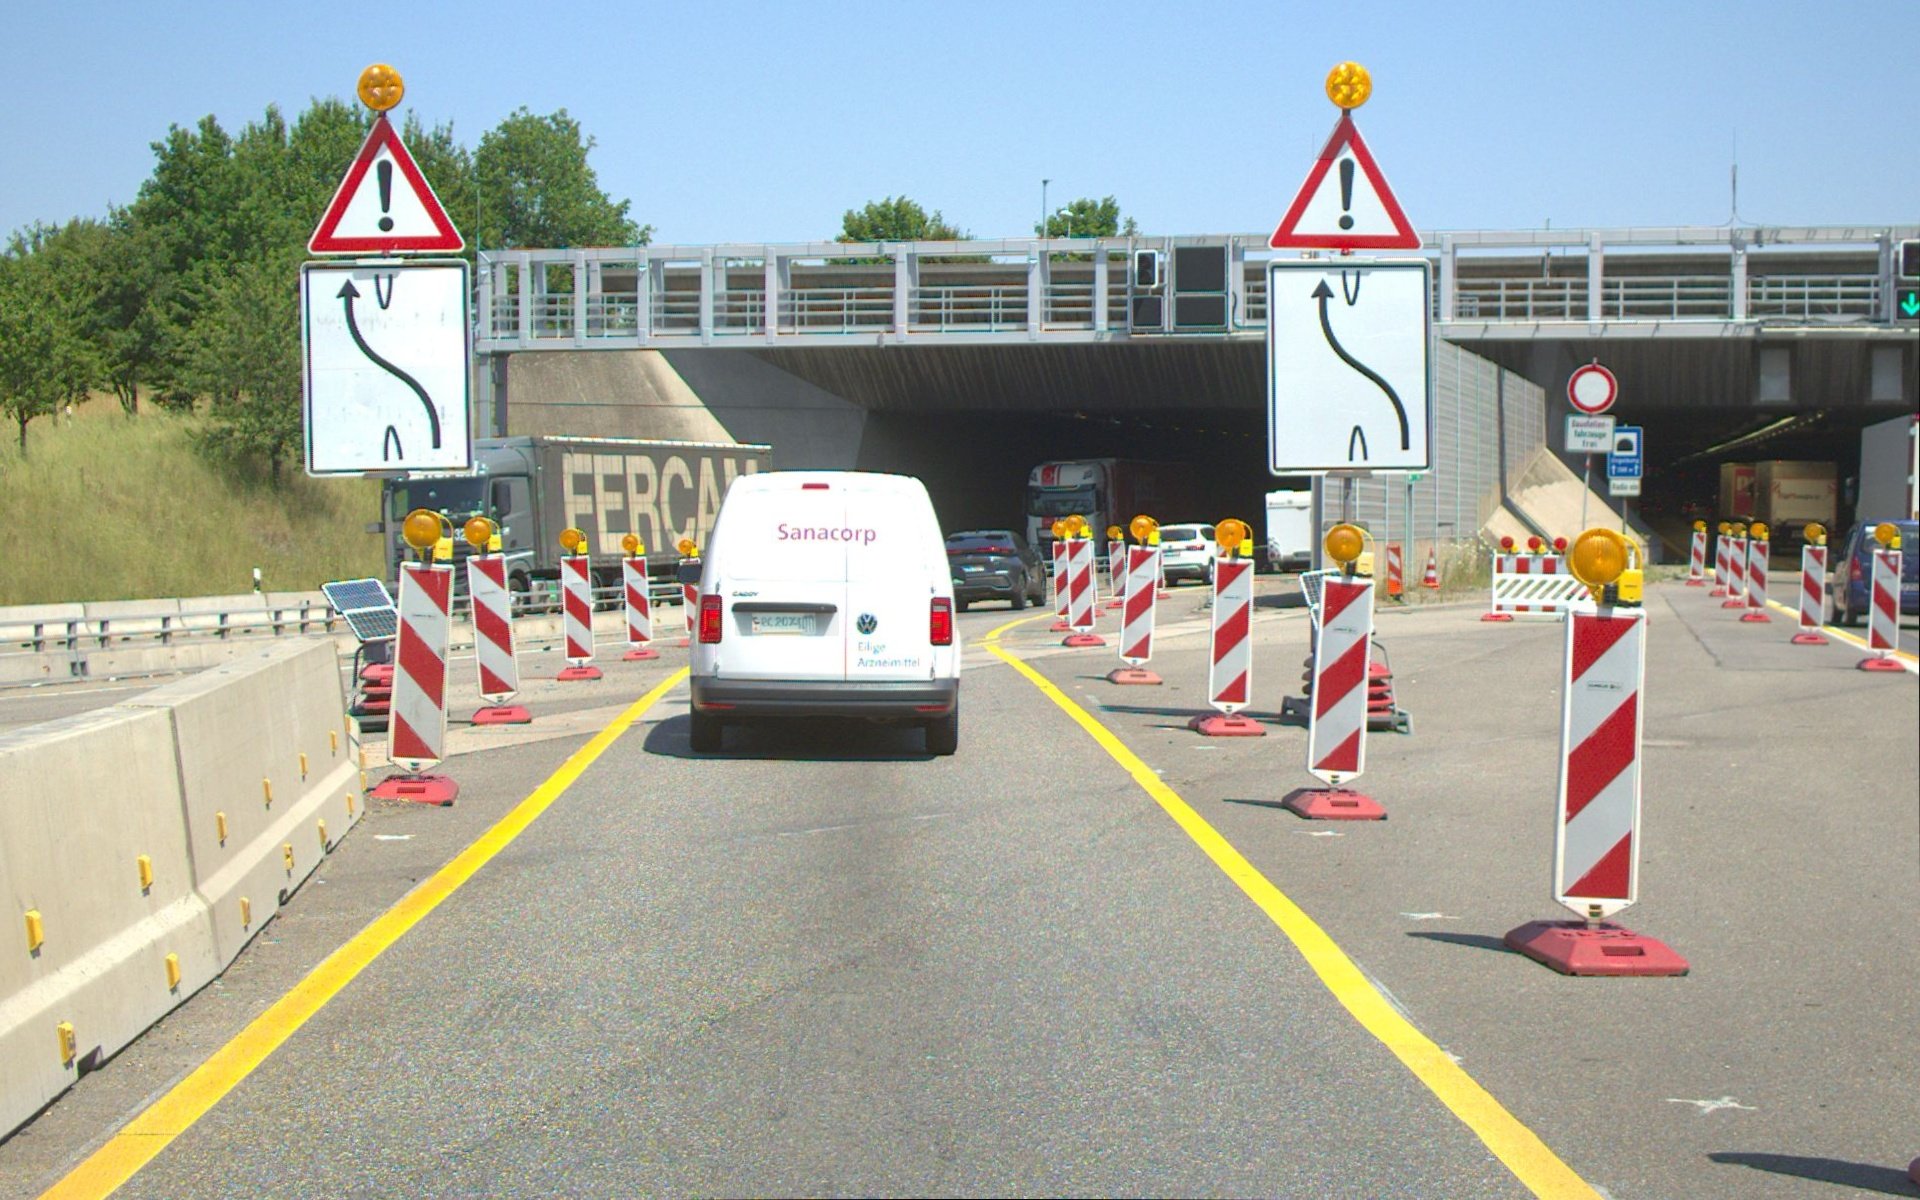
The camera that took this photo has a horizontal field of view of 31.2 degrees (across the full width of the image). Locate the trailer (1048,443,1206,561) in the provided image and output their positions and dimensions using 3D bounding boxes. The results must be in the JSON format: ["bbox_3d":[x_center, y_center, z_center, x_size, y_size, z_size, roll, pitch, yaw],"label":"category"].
[{"bbox_3d":[6.255,-3.526,125.980,2.340,4.088,13.250,0,1,18],"label":"trailer"}]

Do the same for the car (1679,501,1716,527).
[{"bbox_3d":[54.920,-6.417,256.112,2.332,1.832,4.542,2,1,9],"label":"car"}]

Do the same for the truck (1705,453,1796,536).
[{"bbox_3d":[42.186,-5.551,183.981,3.403,4.057,16.531,2,1,9],"label":"truck"}]

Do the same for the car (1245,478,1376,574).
[{"bbox_3d":[10.938,-2.253,106.793,2.816,2.764,7.096,1,0,16],"label":"car"}]

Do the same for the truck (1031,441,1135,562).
[{"bbox_3d":[4.327,-3.416,120.023,2.336,4.094,5.013,0,1,18],"label":"truck"}]

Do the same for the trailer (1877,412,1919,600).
[{"bbox_3d":[23.266,-2.068,80.798,2.734,4.048,14.087,2,1,13],"label":"trailer"}]

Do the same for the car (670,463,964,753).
[{"bbox_3d":[-0.899,0.018,23.207,1.808,1.788,3.731,0,1,0],"label":"car"}]

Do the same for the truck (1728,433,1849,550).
[{"bbox_3d":[34.713,-4.422,144.698,3.403,4.320,16.530,2,0,9],"label":"truck"}]

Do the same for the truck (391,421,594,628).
[{"bbox_3d":[-9.937,-1.595,73.447,2.433,4.255,4.835,0,1,18],"label":"truck"}]

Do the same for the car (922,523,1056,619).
[{"bbox_3d":[0.603,-0.588,67.115,1.809,1.809,4.407,0,1,11],"label":"car"}]

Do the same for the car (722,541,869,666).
[{"bbox_3d":[-2.170,0.005,44.802,1.808,1.532,4.410,-1,1,-3],"label":"car"}]

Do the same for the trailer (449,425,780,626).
[{"bbox_3d":[-7.778,-1.729,80.291,2.437,4.282,13.798,0,1,17],"label":"trailer"}]

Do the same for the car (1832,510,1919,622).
[{"bbox_3d":[14.547,-0.518,53.213,1.816,1.637,4.650,2,1,12],"label":"car"}]

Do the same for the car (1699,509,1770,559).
[{"bbox_3d":[26.330,-2.237,117.026,1.815,1.624,4.189,2,1,6],"label":"car"}]

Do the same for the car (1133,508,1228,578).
[{"bbox_3d":[5.760,-1.480,89.260,1.809,1.745,4.407,0,1,12],"label":"car"}]
